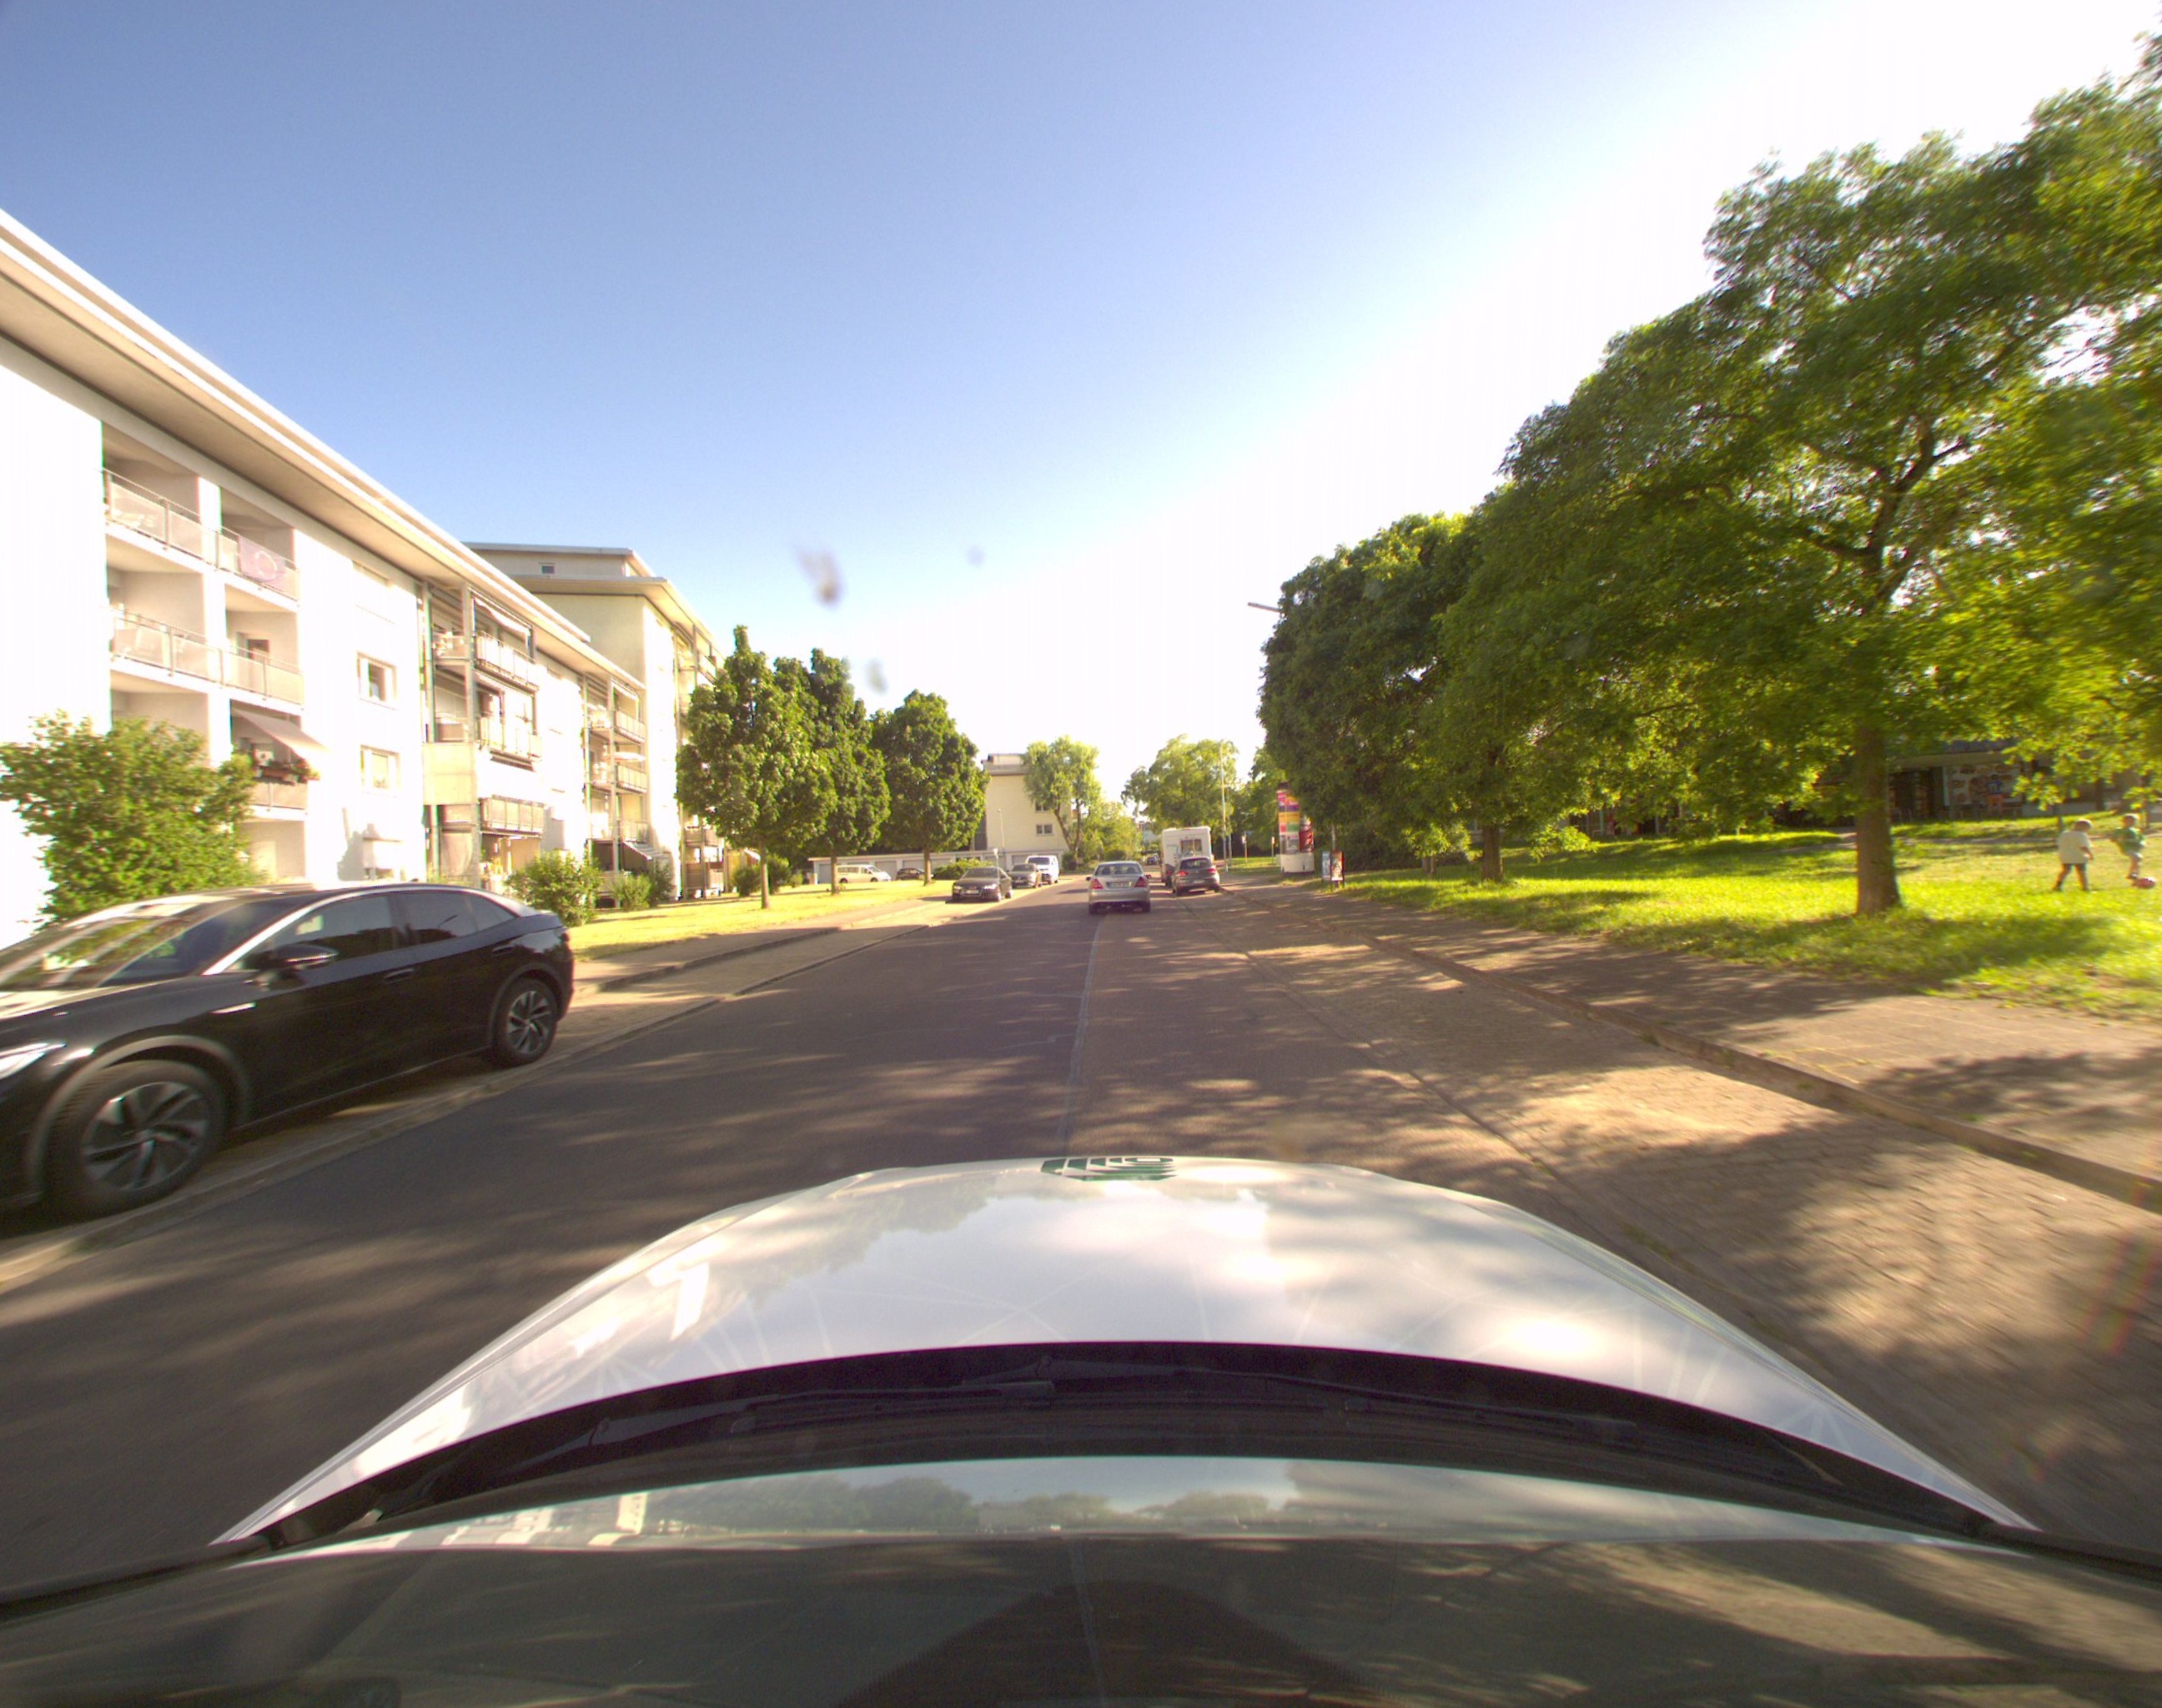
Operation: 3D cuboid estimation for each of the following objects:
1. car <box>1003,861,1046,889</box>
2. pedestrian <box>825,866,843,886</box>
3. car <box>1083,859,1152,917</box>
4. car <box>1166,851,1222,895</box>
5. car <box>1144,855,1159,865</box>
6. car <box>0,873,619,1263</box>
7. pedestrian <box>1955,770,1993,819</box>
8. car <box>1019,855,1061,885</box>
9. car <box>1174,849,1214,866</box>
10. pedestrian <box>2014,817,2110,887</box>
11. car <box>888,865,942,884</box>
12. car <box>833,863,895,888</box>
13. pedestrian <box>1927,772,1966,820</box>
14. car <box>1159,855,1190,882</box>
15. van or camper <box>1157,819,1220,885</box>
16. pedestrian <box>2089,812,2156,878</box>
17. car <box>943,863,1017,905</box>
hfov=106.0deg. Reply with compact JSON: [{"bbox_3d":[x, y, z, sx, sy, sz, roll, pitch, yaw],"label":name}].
[{"bbox_3d":[-3.216,1.196,47.260,1.824,1.518,4.227,-1,-1,5],"label":"car"},{"bbox_3d":[-26.428,2.337,87.119,1.471,2.013,1.094,-3,0,-5],"label":"pedestrian"},{"bbox_3d":[1.110,0.921,23.046,1.725,1.434,3.442,-3,-1,5],"label":"car"},{"bbox_3d":[4.562,0.737,33.470,1.713,1.524,4.431,-6,0,2],"label":"car"},{"bbox_3d":[11.976,1.038,138.377,1.900,1.490,3.850,-5,-1,12],"label":"car"},{"bbox_3d":[-5.613,1.021,5.710,1.908,1.604,4.811,-3,-1,0],"label":"car"},{"bbox_3d":[38.157,-2.536,34.805,0.637,2.013,0.834,-3,-1,-23],"label":"pedestrian"},{"bbox_3d":[-2.622,1.016,53.780,2.004,1.885,5.198,-1,0,5],"label":"car"},{"bbox_3d":[14.621,0.445,105.185,4.866,1.924,2.001,-3,0,2],"label":"car"},{"bbox_3d":[16.252,-0.040,13.511,0.715,1.088,0.707,-4,0,18],"label":"pedestrian"},{"bbox_3d":[-15.524,1.896,76.290,4.414,1.460,2.049,-3,0,11],"label":"car"},{"bbox_3d":[-20.551,2.029,77.235,5.072,1.951,2.244,-3,0,11],"label":"car"},{"bbox_3d":[37.795,-2.507,35.568,0.635,2.013,0.853,-3,-1,-12],"label":"pedestrian"},{"bbox_3d":[5.649,0.867,49.414,1.683,1.474,4.005,-3,0,5],"label":"car"},{"bbox_3d":[5.238,-0.101,40.567,2.486,2.845,6.857,-3,0,3],"label":"van or camper"},{"bbox_3d":[18.127,-0.149,14.176,0.634,1.088,0.504,-4,0,-19],"label":"pedestrian"},{"bbox_3d":[-4.097,1.188,34.111,2.026,1.493,5.262,-3,0,4],"label":"car"}]
